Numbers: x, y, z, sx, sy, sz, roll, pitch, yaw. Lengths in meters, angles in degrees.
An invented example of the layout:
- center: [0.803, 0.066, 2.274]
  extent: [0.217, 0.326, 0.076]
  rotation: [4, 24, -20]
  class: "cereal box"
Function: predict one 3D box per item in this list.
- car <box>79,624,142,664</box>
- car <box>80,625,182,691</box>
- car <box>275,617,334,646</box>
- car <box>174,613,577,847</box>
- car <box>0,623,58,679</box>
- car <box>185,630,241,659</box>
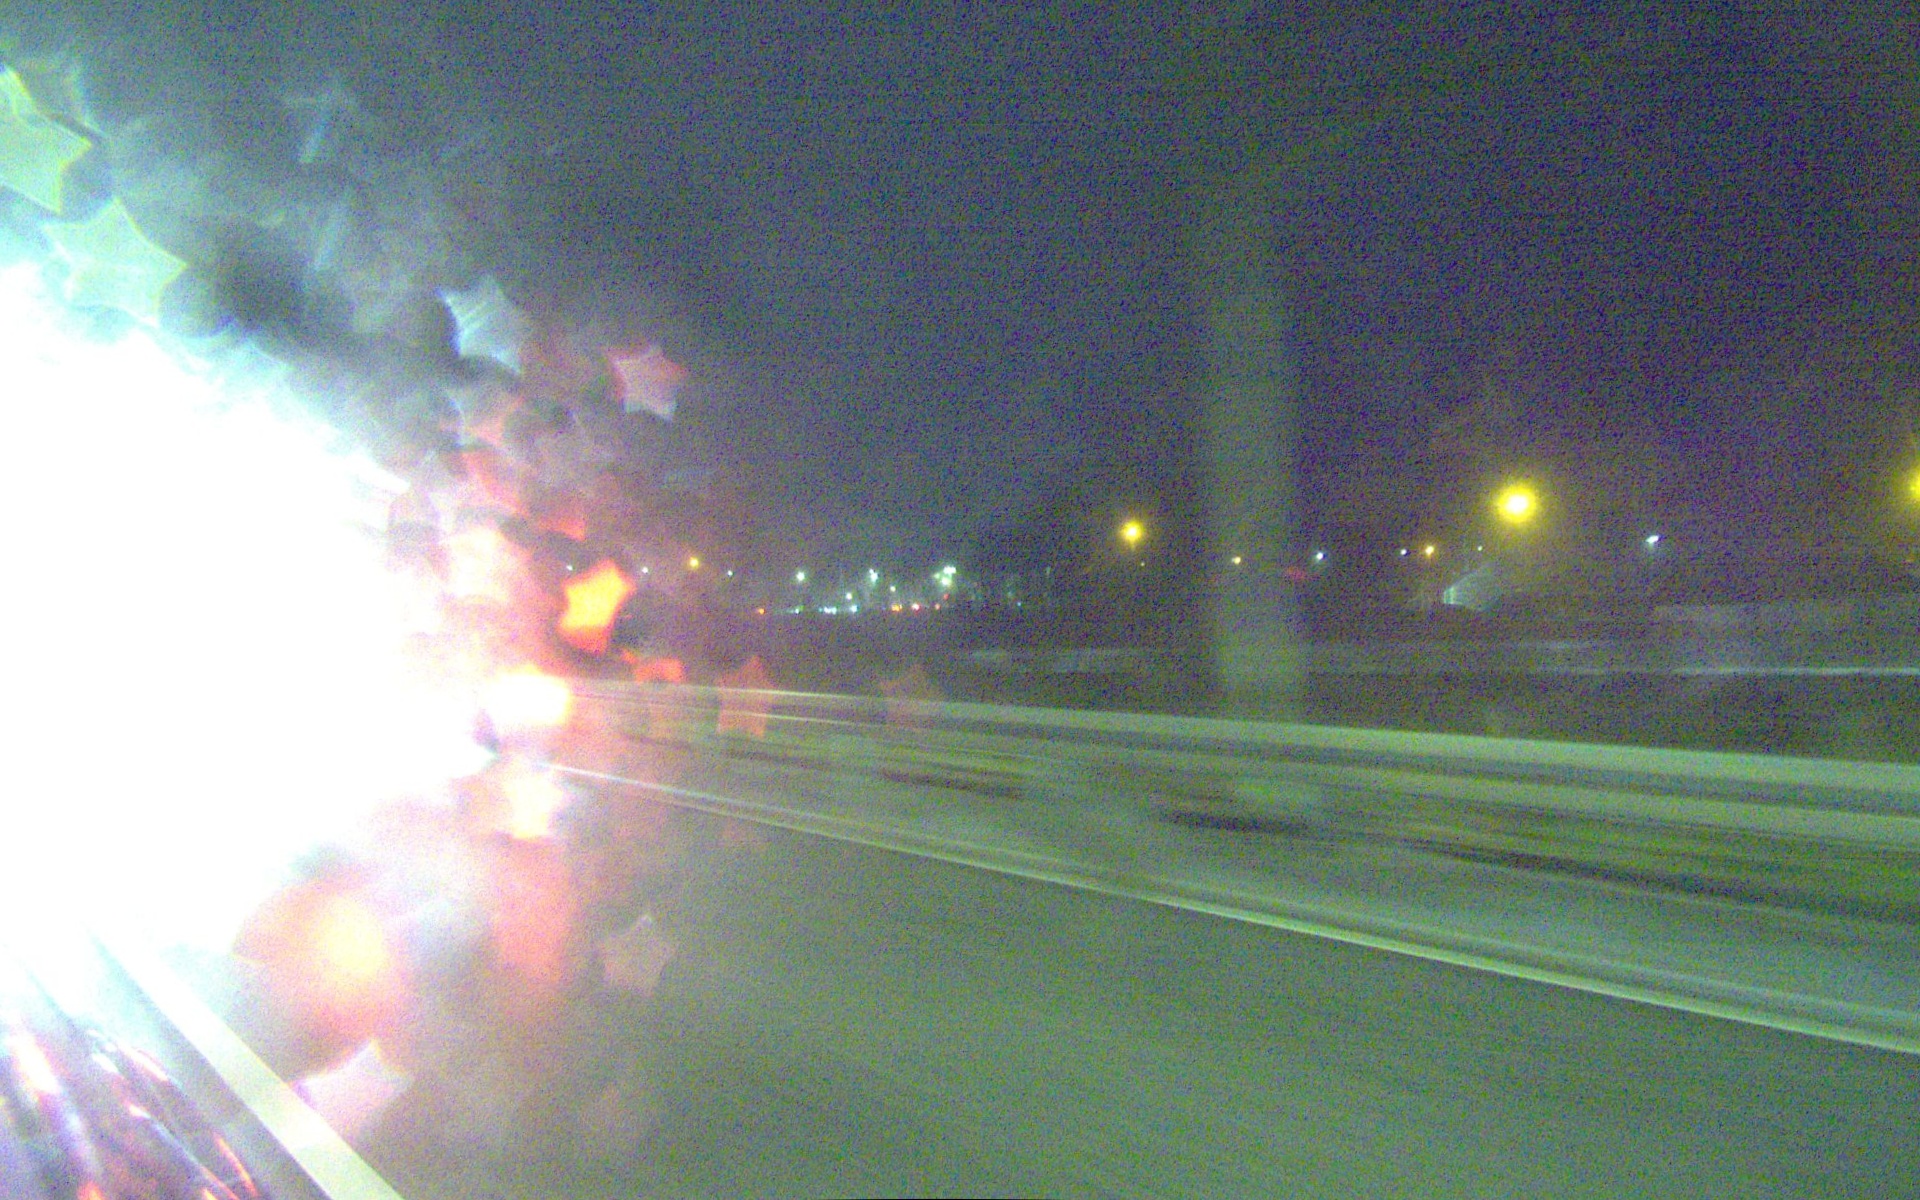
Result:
- center: [-44.332, 2.289, 52.885]
  extent: [1.966, 1.949, 4.011]
  rotation: [-1, -1, -32]
  class: "car"
- center: [-20.127, 1.335, 24.662]
  extent: [1.769, 1.402, 4.600]
  rotation: [1, -1, -38]
  class: "car"
- center: [-48.765, 2.335, 75.415]
  extent: [2.415, 2.003, 5.511]
  rotation: [-1, -1, -19]
  class: "car"
- center: [-4.870, 0.865, 8.221]
  extent: [3.816, 1.443, 1.648]
  rotation: [-2, -1, 40]
  class: "car"
- center: [-34.533, 1.859, 37.259]
  extent: [1.969, 1.949, 4.005]
  rotation: [0, -2, -42]
  class: "car"
- center: [-38.168, 2.255, 51.800]
  extent: [1.704, 1.415, 3.875]
  rotation: [0, -1, -27]
  class: "car"
